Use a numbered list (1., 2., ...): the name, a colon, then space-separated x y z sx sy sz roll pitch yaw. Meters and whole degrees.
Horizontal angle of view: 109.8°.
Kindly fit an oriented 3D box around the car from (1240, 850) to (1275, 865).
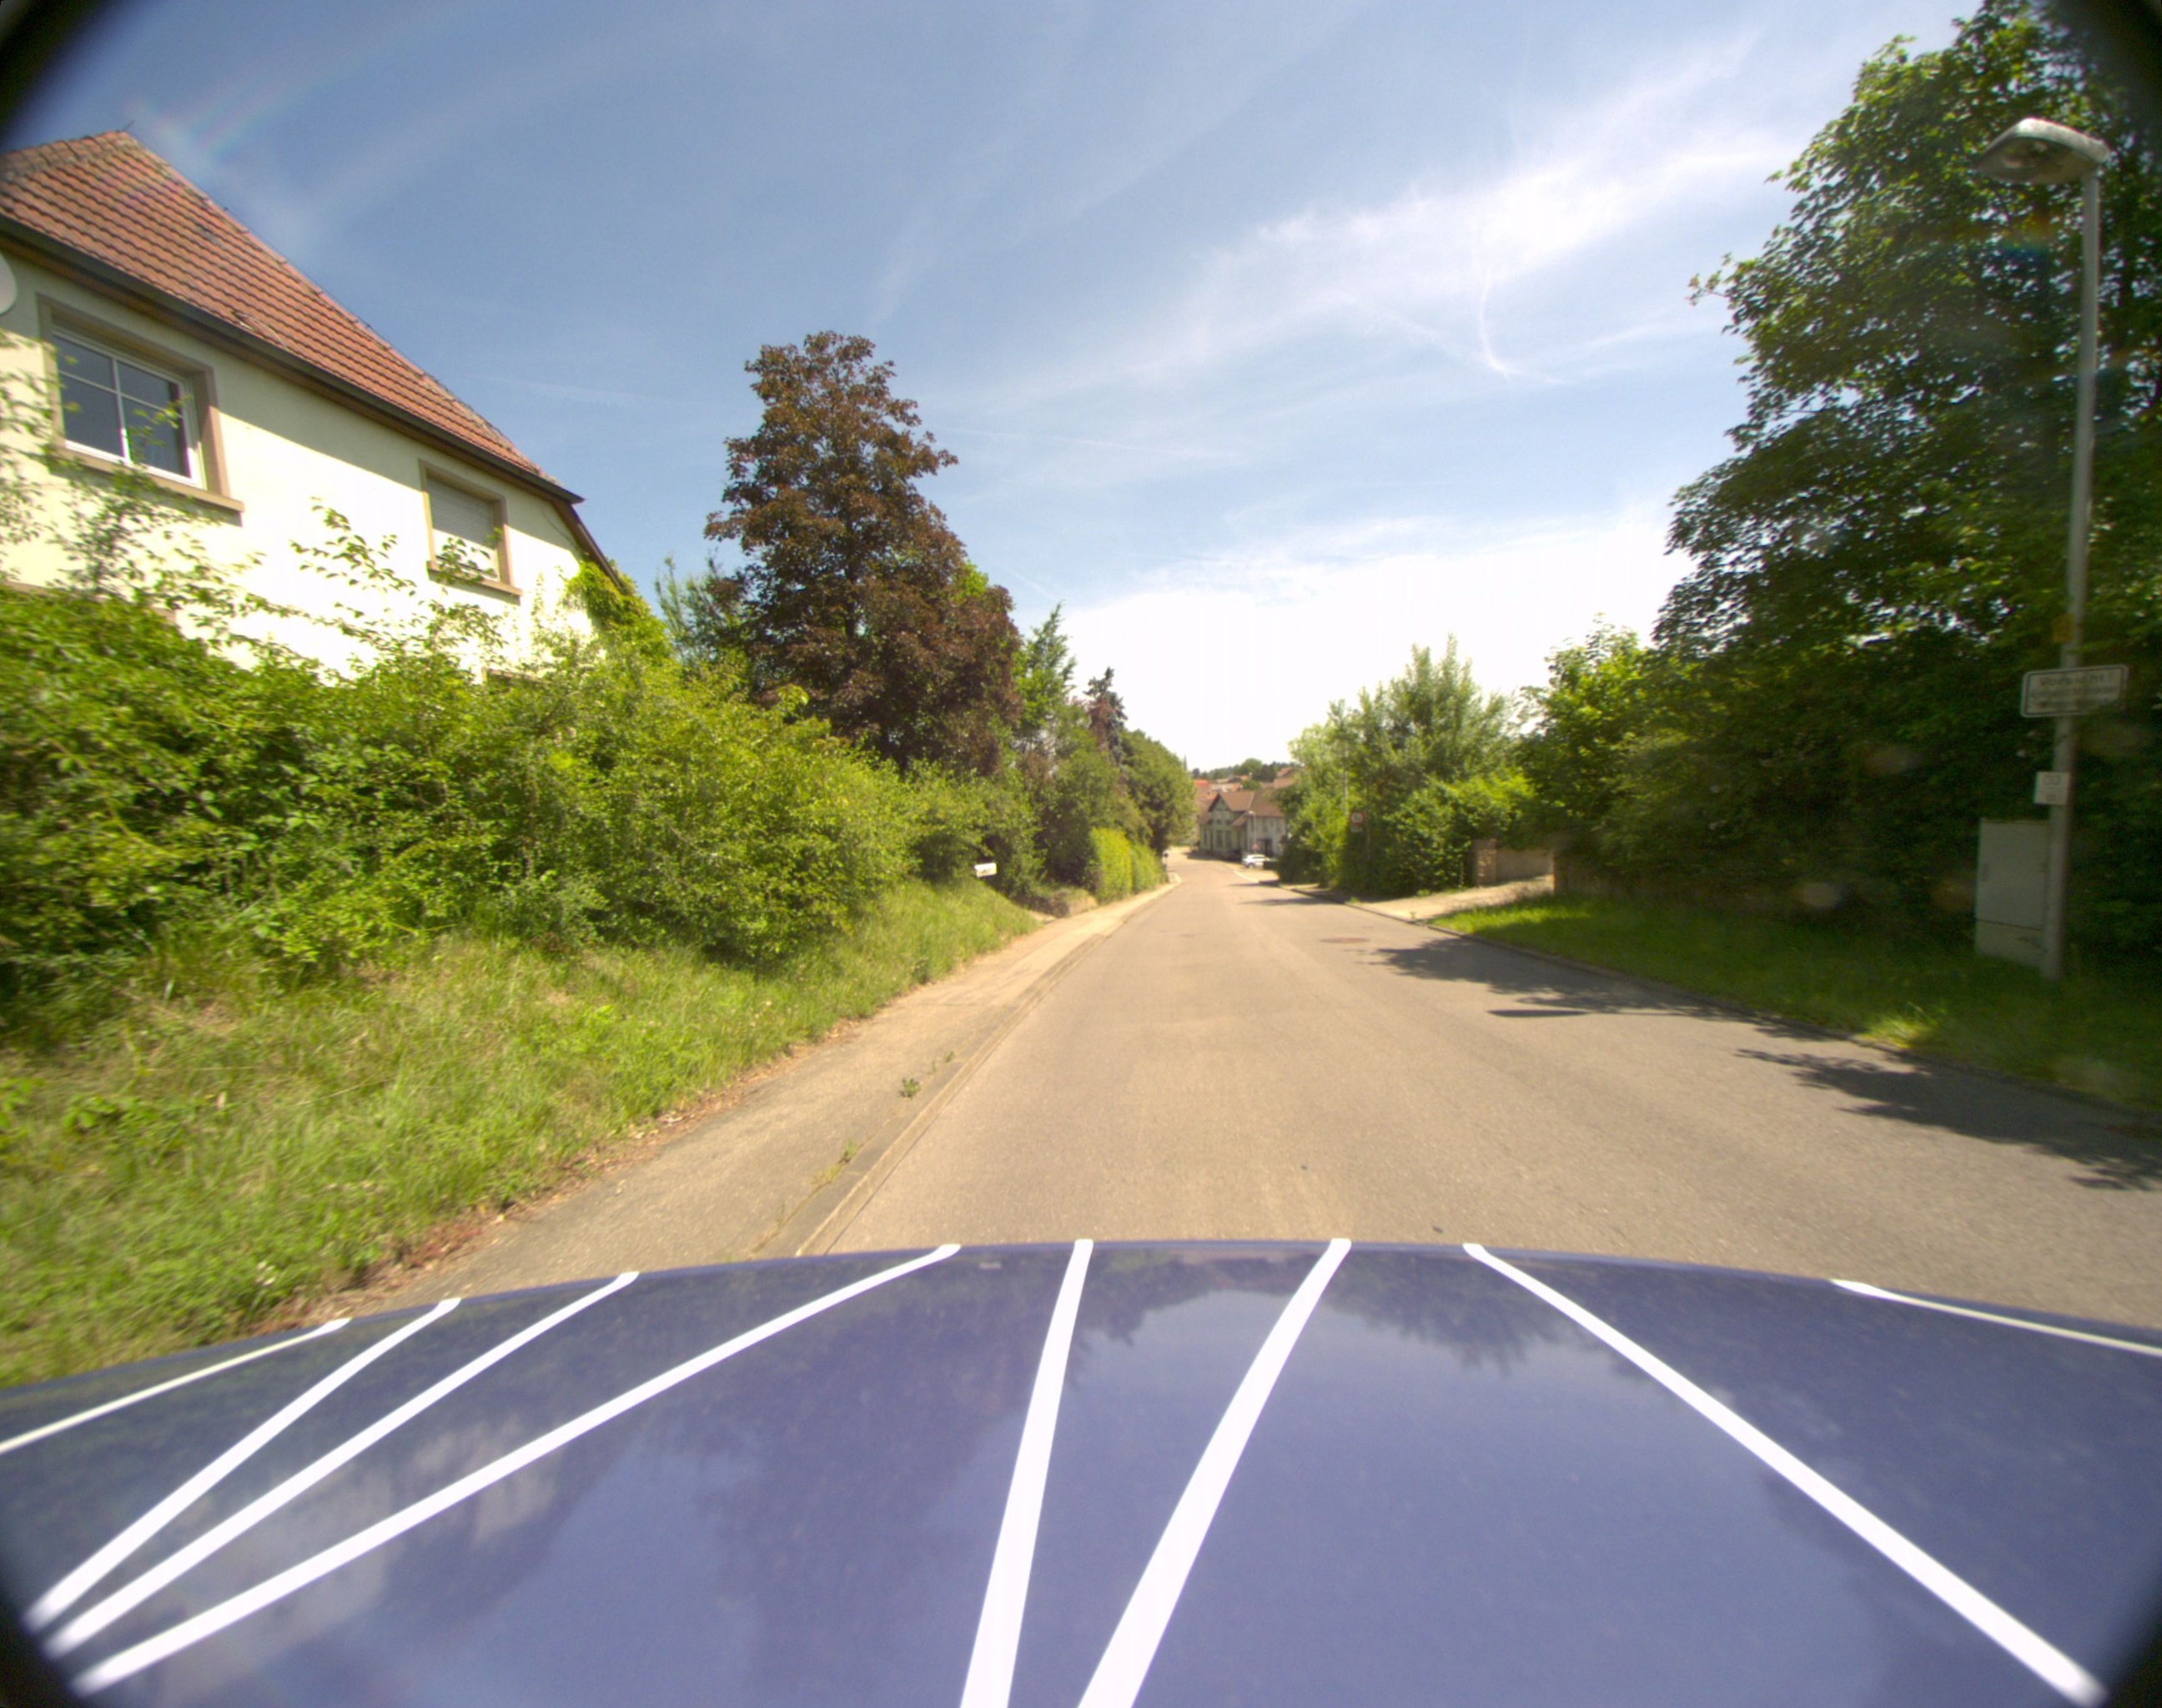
1. car: 20.832 0.438 89.743 3.581 1.377 1.515 -5 2 -3
